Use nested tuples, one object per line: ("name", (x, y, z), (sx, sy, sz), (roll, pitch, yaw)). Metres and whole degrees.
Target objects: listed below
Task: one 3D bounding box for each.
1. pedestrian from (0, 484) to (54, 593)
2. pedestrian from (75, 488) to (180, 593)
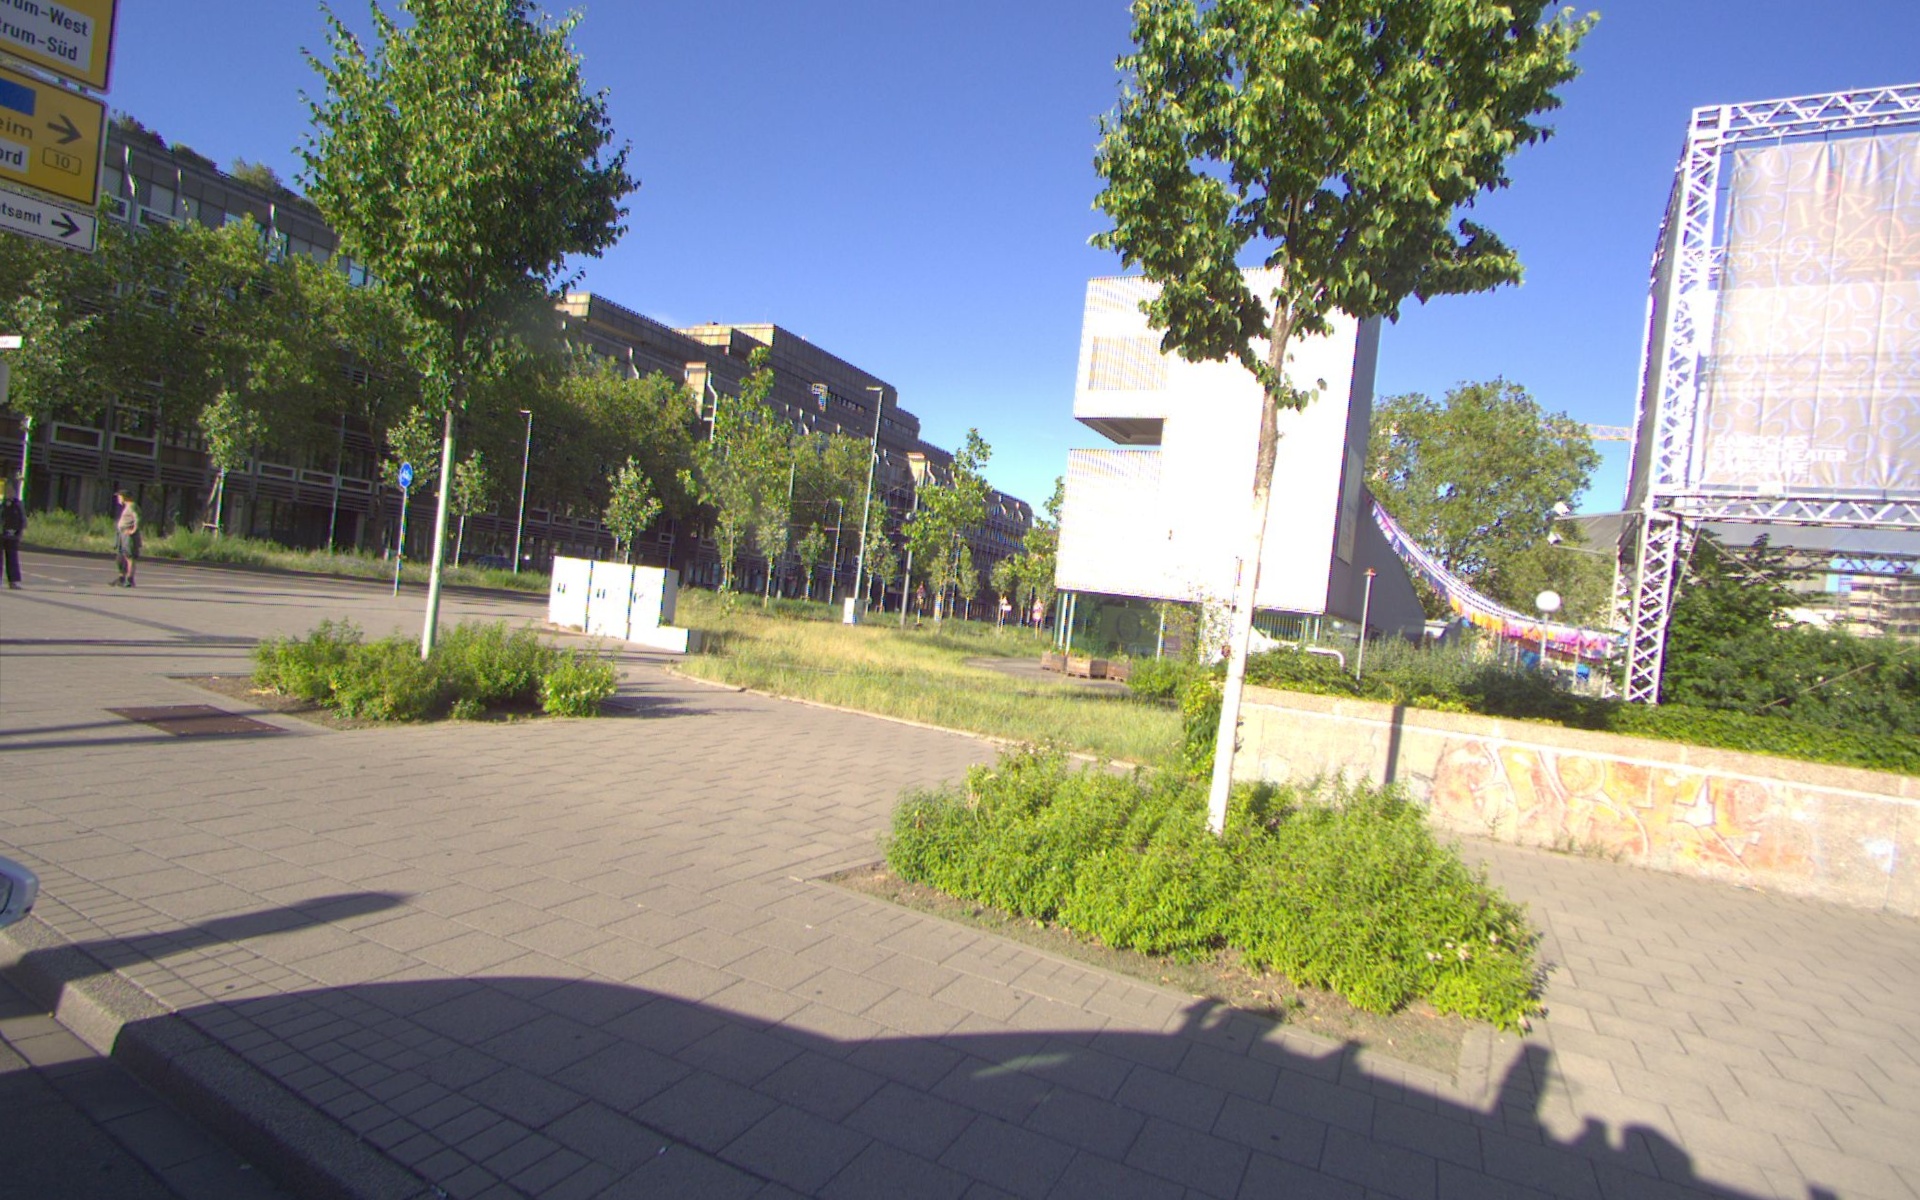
("pedestrian", (-14.045, -0.923, 14.785), (0.633, 1.510, 0.789), (6, -1, 31))
("pedestrian", (-14.880, -1.048, 17.999), (0.946, 1.684, 0.882), (7, -1, 11))
